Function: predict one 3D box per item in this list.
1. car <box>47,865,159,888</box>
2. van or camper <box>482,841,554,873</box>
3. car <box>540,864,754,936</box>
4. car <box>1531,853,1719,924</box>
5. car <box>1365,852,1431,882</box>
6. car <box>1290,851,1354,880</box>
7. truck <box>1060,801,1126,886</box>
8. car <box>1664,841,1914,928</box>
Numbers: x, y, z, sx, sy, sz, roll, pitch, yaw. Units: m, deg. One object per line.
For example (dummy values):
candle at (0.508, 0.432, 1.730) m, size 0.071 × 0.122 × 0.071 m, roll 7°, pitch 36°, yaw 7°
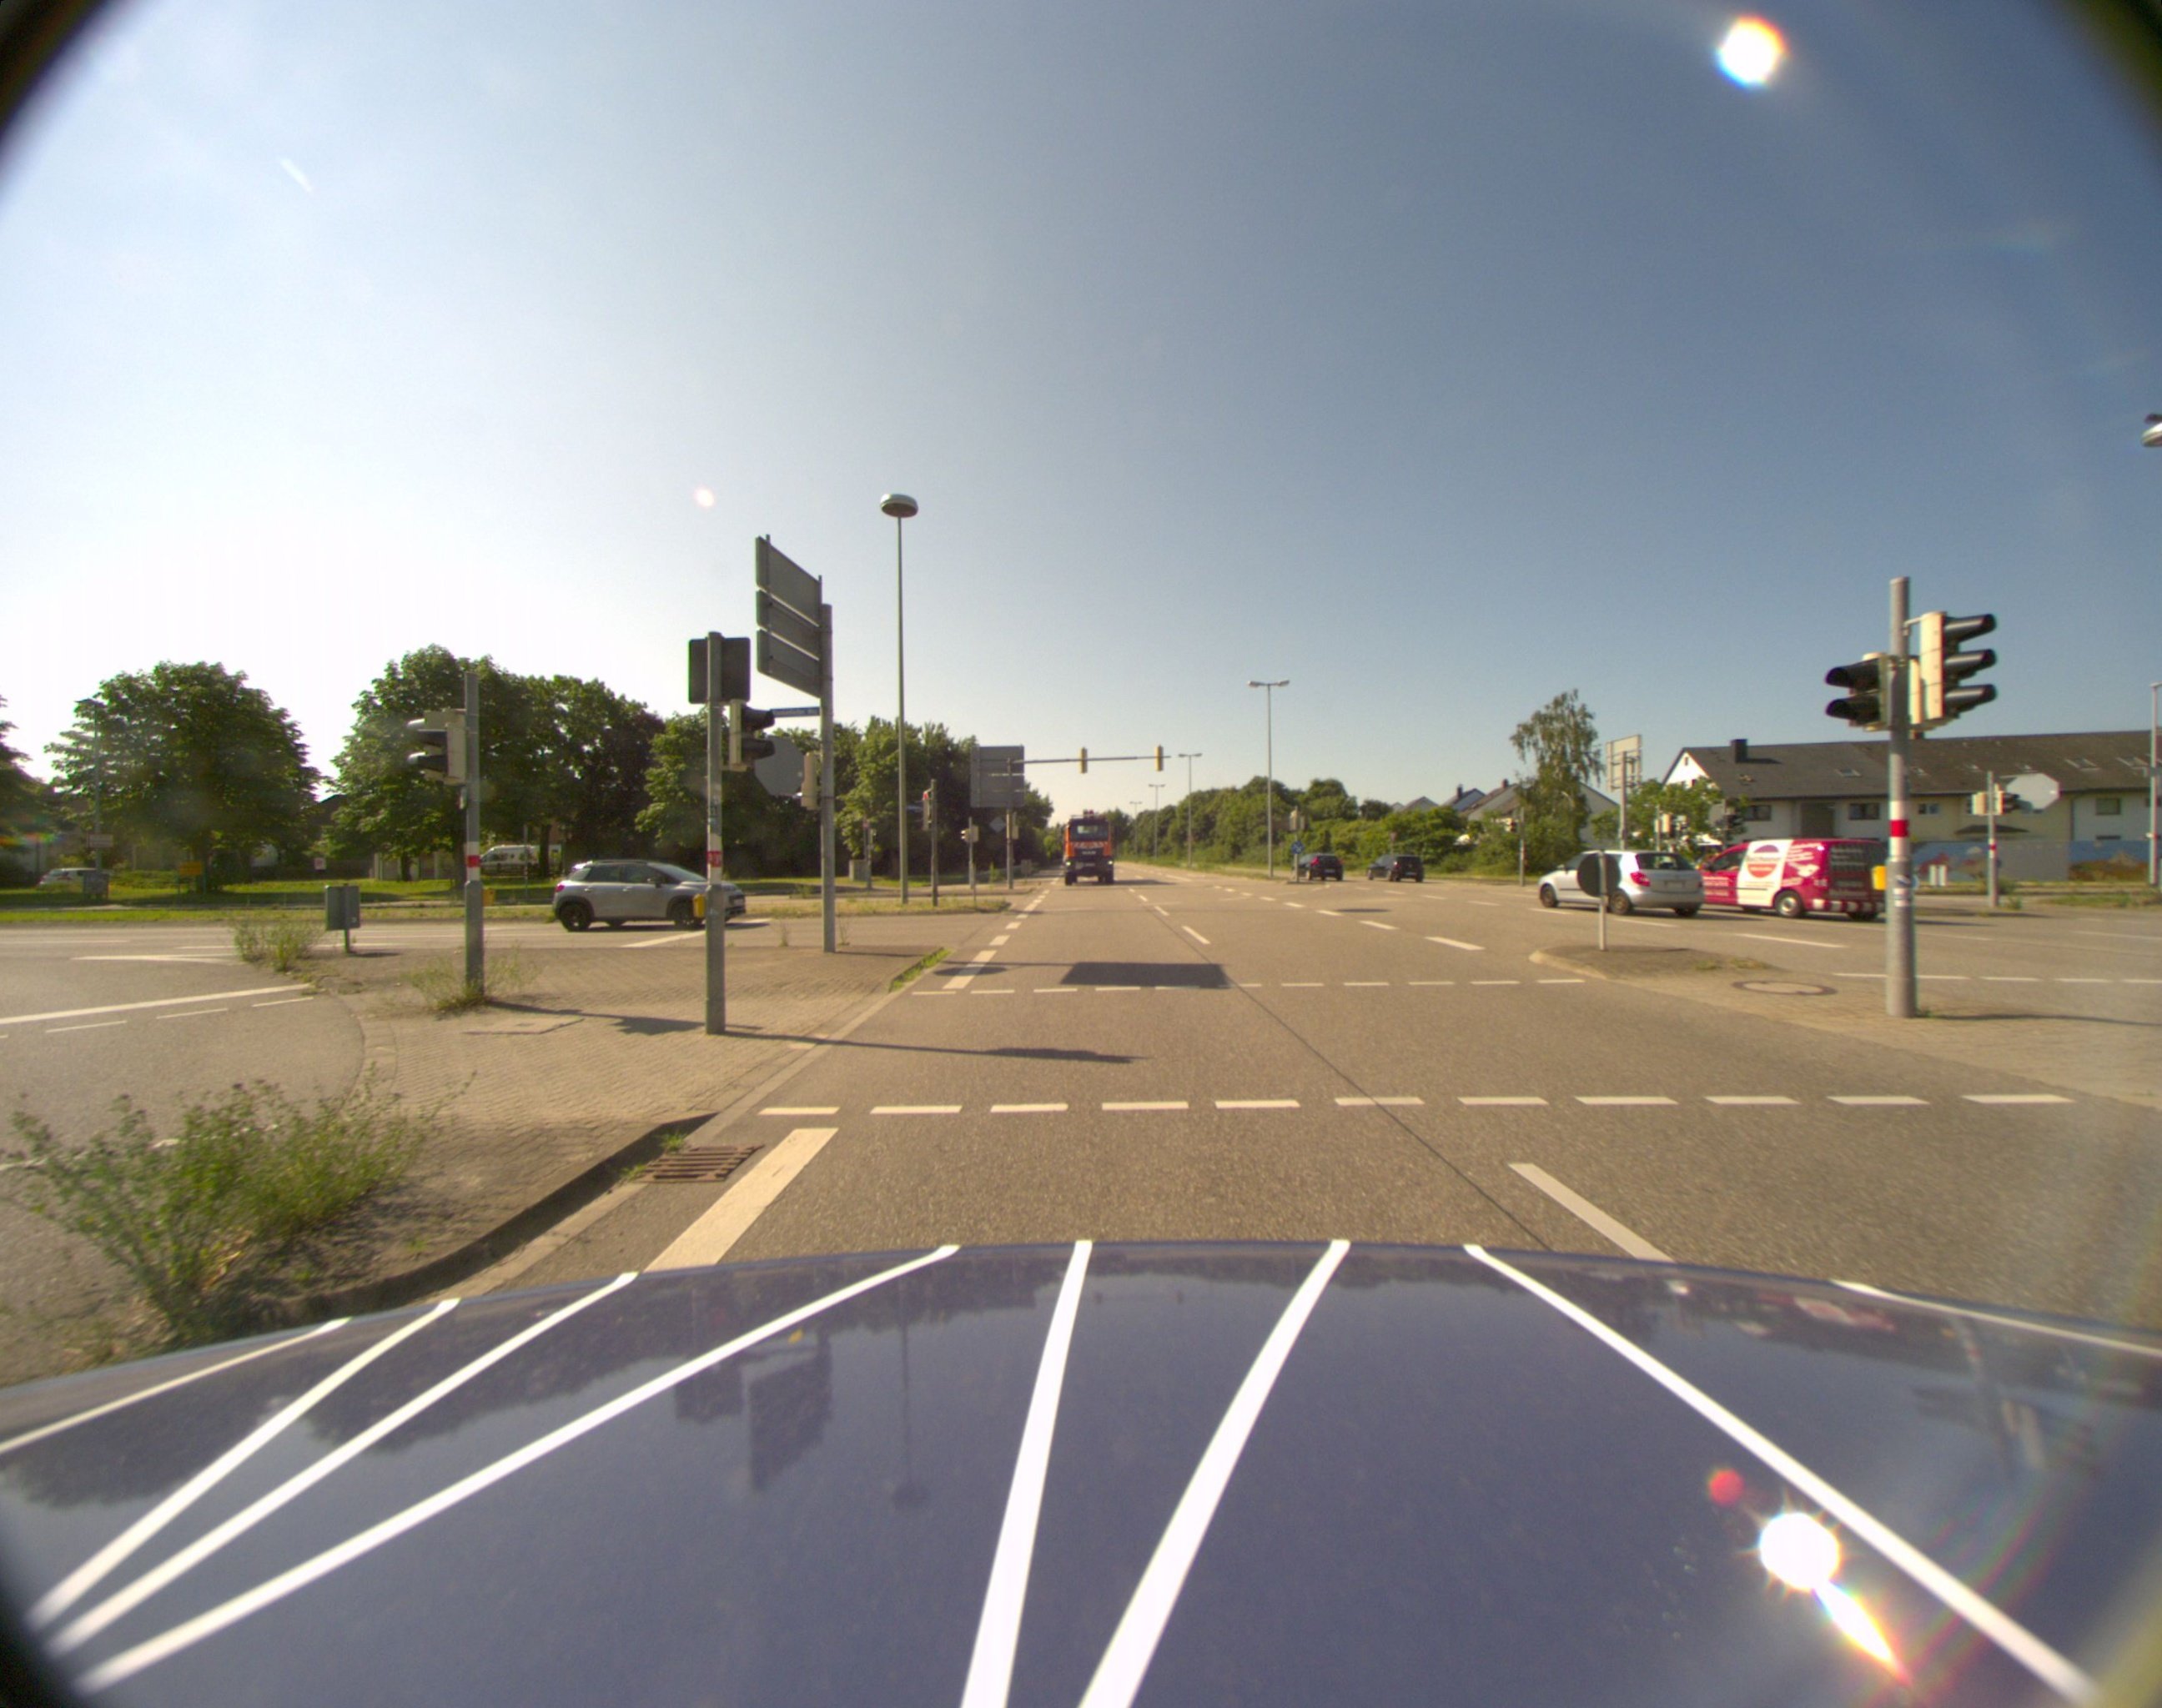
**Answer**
car at (-60.833, 1.357, 47.359) m, size 1.731 × 1.280 × 4.000 m, roll -1°, pitch 0°, yaw 2°
van or camper at (-50.023, 0.268, 67.540) m, size 4.812 × 2.815 × 1.999 m, roll 0°, pitch 1°, yaw -2°
car at (-10.194, 1.052, 18.070) m, size 4.062 × 1.555 × 1.742 m, roll 0°, pitch 1°, yaw 0°
car at (12.449, 0.721, 17.731) m, size 1.623 × 1.449 × 3.871 m, roll 0°, pitch 0°, yaw 0°
car at (16.643, 0.638, 40.135) m, size 1.889 × 1.449 × 4.230 m, roll 0°, pitch 0°, yaw 3°
car at (12.557, 0.565, 39.945) m, size 1.986 × 1.449 × 4.332 m, roll 0°, pitch 0°, yaw 0°
truck at (0.588, -0.519, 38.859) m, size 2.940 × 3.852 × 6.590 m, roll -2°, pitch 1°, yaw 1°
car at (16.068, 0.609, 17.616) m, size 1.709 × 1.759 × 4.227 m, roll 1°, pitch 0°, yaw -3°
